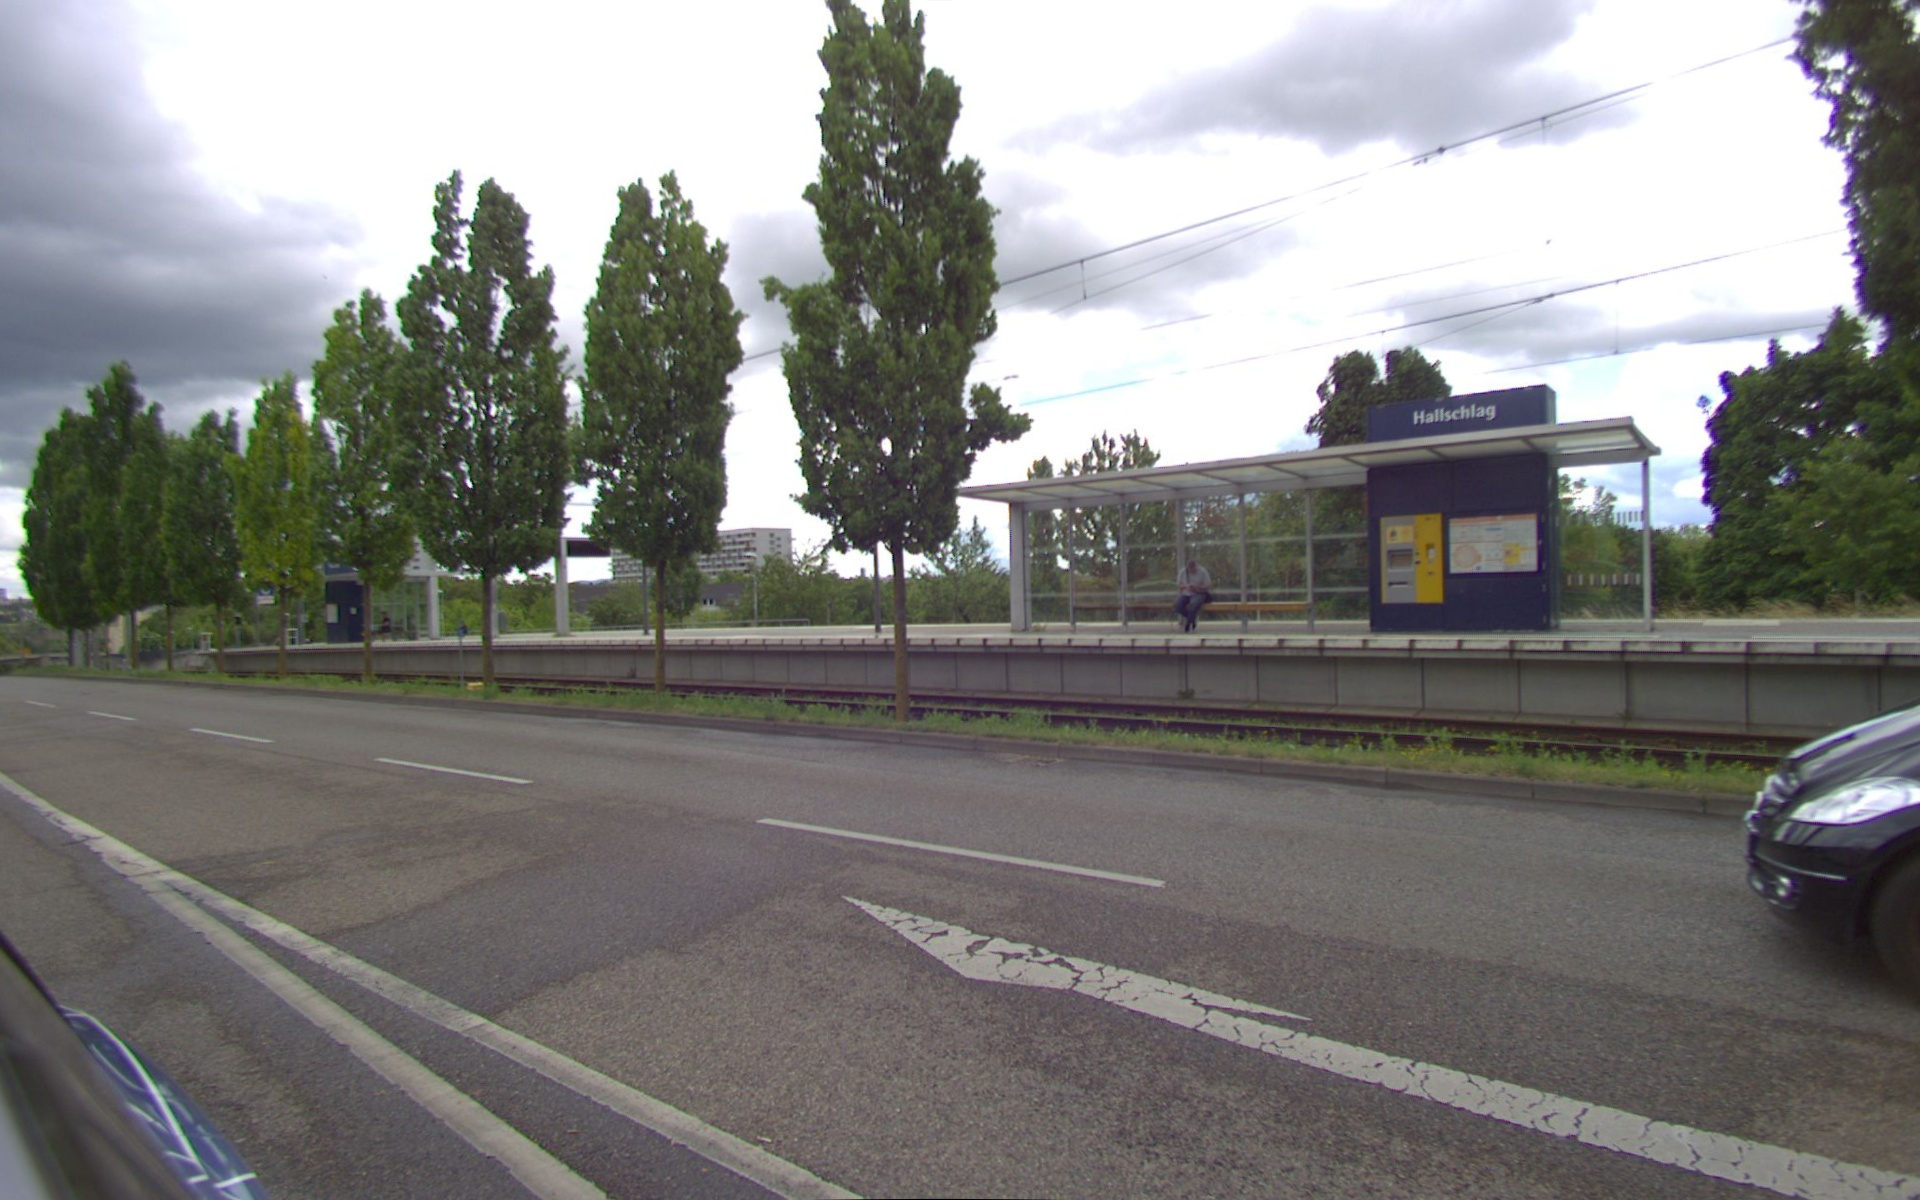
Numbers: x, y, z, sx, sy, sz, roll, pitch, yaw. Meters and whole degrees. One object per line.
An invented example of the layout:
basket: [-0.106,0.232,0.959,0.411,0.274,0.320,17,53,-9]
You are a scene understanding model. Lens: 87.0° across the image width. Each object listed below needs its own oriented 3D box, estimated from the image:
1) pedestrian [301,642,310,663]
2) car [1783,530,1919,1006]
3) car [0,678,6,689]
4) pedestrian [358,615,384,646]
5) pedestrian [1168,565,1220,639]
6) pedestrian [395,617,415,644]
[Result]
pedestrian: [-50.973,4.096,78.833,0.501,1.637,0.646,0,-3,-44]
car: [4.980,0.542,3.100,3.700,1.585,1.710,-1,0,37]
car: [-142.313,12.339,149.589,1.695,1.533,3.749,0,-3,-42]
pedestrian: [-24.015,1.236,41.251,0.665,1.208,0.753,-3,-2,41]
pedestrian: [4.249,0.044,18.354,0.658,1.279,0.604,-5,-3,36]
pedestrian: [-22.637,1.250,41.285,0.470,1.087,0.601,-4,-3,40]
